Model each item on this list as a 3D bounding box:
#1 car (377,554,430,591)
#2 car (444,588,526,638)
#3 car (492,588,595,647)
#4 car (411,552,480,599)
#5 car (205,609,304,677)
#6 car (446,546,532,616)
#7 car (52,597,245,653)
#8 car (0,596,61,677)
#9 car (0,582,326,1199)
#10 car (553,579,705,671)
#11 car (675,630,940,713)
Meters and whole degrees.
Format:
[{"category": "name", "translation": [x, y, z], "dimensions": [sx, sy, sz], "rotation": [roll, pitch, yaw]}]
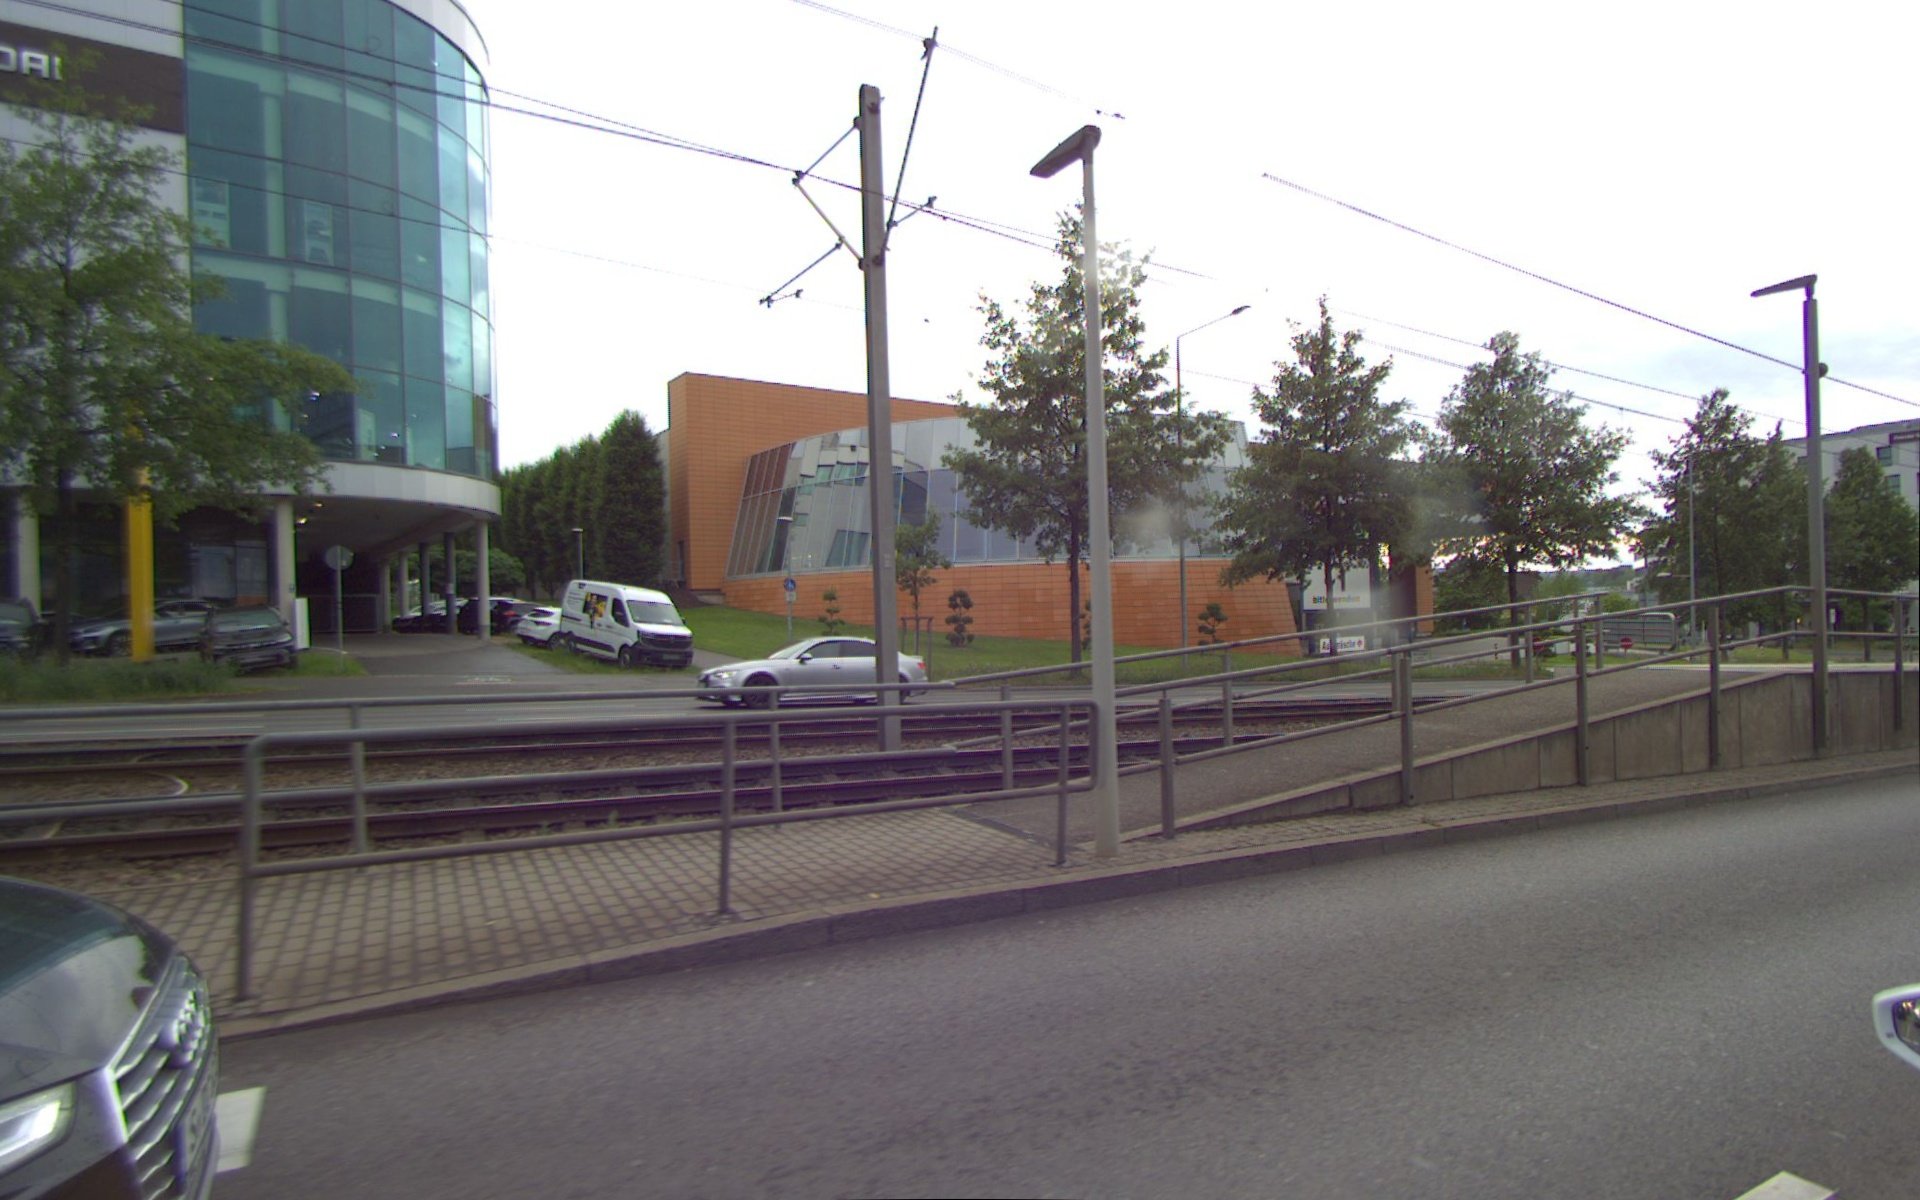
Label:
[{"category": "car", "translation": [-40.441, -1.955, 72.906], "dimensions": [2.721, 2.528, 5.429], "rotation": [2, 0, -36]}, {"category": "car", "translation": [-20.409, 0.519, 43.018], "dimensions": [2.257, 1.952, 5.429], "rotation": [2, 0, -35]}, {"category": "car", "translation": [-15.264, 0.587, 36.622], "dimensions": [2.257, 1.952, 5.429], "rotation": [2, 0, -35]}, {"category": "car", "translation": [-29.790, -1.376, 58.057], "dimensions": [2.721, 2.528, 5.429], "rotation": [2, 0, -36]}, {"category": "car", "translation": [-18.172, 1.048, 25.802], "dimensions": [1.880, 1.528, 3.957], "rotation": [2, 0, -38]}, {"category": "car", "translation": [-24.157, -0.916, 51.397], "dimensions": [2.972, 3.315, 5.429], "rotation": [2, 0, -36]}, {"category": "car", "translation": [-23.271, 0.708, 28.998], "dimensions": [1.737, 1.489, 3.999], "rotation": [1, -1, 21]}, {"category": "car", "translation": [-22.617, 0.789, 23.525], "dimensions": [1.904, 1.684, 3.958], "rotation": [1, 1, -36]}, {"category": "car", "translation": [-3.414, 0.668, 0.841], "dimensions": [4.772, 1.453, 1.781], "rotation": [1, -1, -30]}, {"category": "car", "translation": [-10.616, 0.724, 31.959], "dimensions": [5.407, 2.664, 2.266], "rotation": [2, 0, 43]}, {"category": "car", "translation": [-2.982, 1.376, 19.943], "dimensions": [4.817, 1.407, 1.984], "rotation": [2, 0, -30]}]
